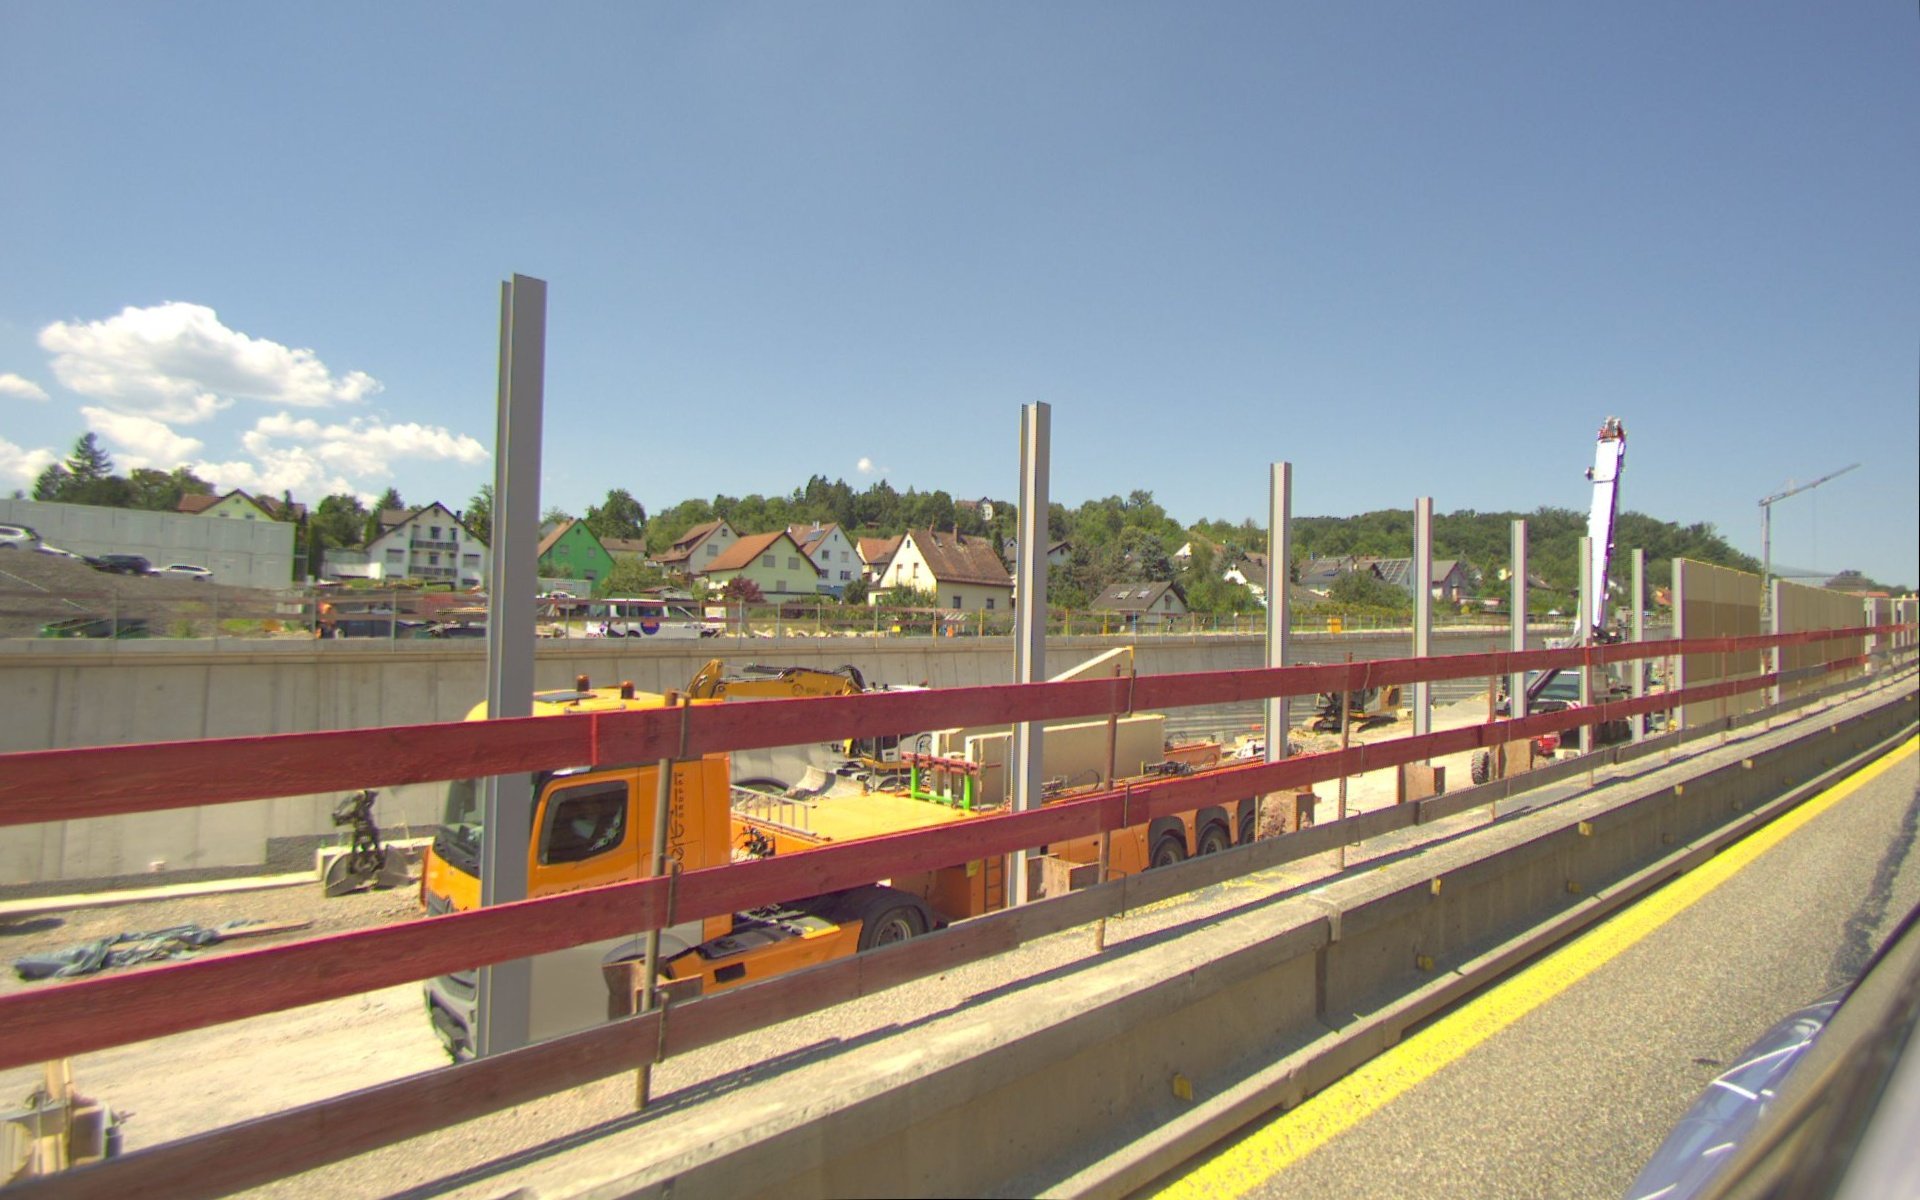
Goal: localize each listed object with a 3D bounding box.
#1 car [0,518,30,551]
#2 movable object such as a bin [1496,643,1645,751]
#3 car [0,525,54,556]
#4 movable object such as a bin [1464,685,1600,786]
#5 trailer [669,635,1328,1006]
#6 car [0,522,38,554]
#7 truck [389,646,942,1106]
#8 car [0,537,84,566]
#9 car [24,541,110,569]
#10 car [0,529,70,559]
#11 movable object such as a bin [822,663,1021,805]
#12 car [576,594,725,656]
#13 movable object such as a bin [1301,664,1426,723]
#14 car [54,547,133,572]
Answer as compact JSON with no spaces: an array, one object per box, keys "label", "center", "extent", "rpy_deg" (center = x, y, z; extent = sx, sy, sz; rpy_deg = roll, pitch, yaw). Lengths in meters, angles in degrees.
[{"label":"car","center":[-48.568,-3.306,49.876],"extent":[4.005,1.537,1.683],"rpy_deg":[1,0,-42]},{"label":"movable object such as a bin","center":[24.409,3.624,40.198],"extent":[2.966,3.533,9.004],"rpy_deg":[-2,-2,45]},{"label":"car","center":[-52.971,-3.324,56.144],"extent":[4.005,1.537,1.710],"rpy_deg":[1,0,-42]},{"label":"movable object such as a bin","center":[17.342,3.978,30.603],"extent":[4.739,2.463,2.170],"rpy_deg":[0,-2,-43]},{"label":"trailer","center":[1.737,2.694,16.925],"extent":[12.826,3.936,2.762],"rpy_deg":[1,0,-43]},{"label":"car","center":[-50.049,-3.246,51.929],"extent":[4.005,1.537,1.683],"rpy_deg":[1,0,-42]},{"label":"truck","center":[-3.300,2.642,12.218],"extent":[5.781,3.936,2.762],"rpy_deg":[1,0,-43]},{"label":"car","center":[-55.576,-2.897,61.112],"extent":[4.005,1.537,1.683],"rpy_deg":[1,0,-42]},{"label":"car","center":[-56.395,-2.812,63.959],"extent":[4.005,1.537,1.683],"rpy_deg":[1,0,-42]},{"label":"car","center":[-54.239,-3.252,58.594],"extent":[4.005,1.537,1.716],"rpy_deg":[1,0,-42]},{"label":"movable object such as a bin","center":[-0.927,3.276,26.041],"extent":[4.738,3.063,2.282],"rpy_deg":[0,-2,-42]},{"label":"car","center":[-10.835,0.834,35.653],"extent":[4.746,2.039,1.806],"rpy_deg":[1,0,-45]},{"label":"movable object such as a bin","center":[21.466,4.831,53.559],"extent":[7.763,2.477,3.165],"rpy_deg":[0,-2,-44]},{"label":"car","center":[-58.523,-2.705,68.375],"extent":[4.005,1.537,1.683],"rpy_deg":[1,0,-42]}]
